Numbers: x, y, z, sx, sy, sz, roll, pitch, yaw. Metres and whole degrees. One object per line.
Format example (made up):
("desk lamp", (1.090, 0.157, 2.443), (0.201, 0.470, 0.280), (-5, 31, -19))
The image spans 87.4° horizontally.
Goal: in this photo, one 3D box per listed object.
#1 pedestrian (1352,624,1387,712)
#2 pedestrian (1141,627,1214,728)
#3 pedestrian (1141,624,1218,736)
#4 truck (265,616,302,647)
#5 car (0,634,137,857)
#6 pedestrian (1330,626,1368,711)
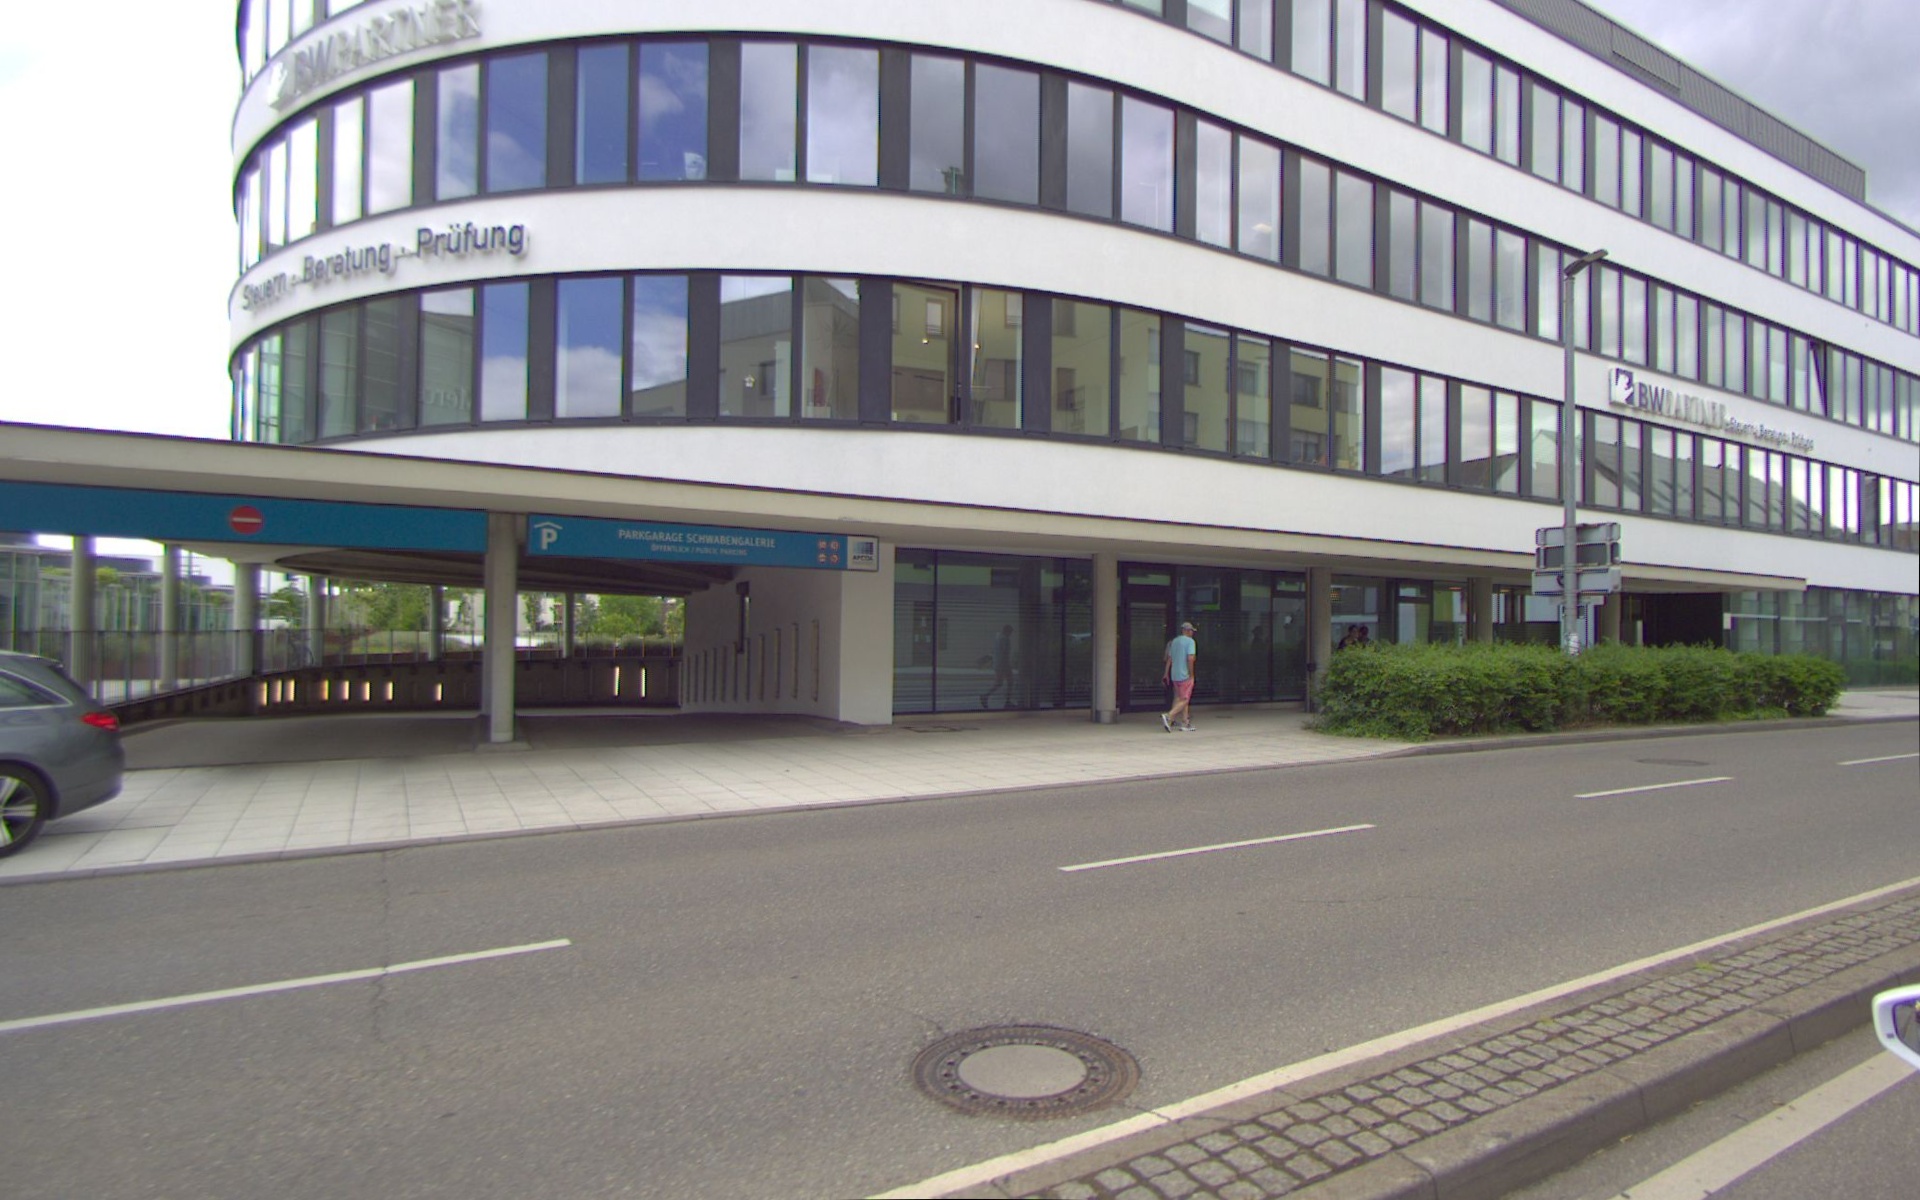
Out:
("pedestrian", (8.208, 1.350, 20.129), (0.604, 1.732, 0.505), (0, -2, 30))
("pedestrian", (3.663, 1.284, 16.930), (0.919, 1.634, 0.727), (1, 0, -28))
("pedestrian", (3.477, 1.244, 15.930), (0.919, 1.696, 0.727), (1, 0, -28))
("truck", (-55.915, 2.558, 83.091), (2.364, 2.312, 6.376), (2, 0, -34))
("car", (-7.624, 0.967, 5.606), (1.864, 1.434, 4.473), (2, 0, 12))
("pedestrian", (8.149, 1.432, 21.055), (0.603, 1.752, 0.506), (1, -2, 1))
